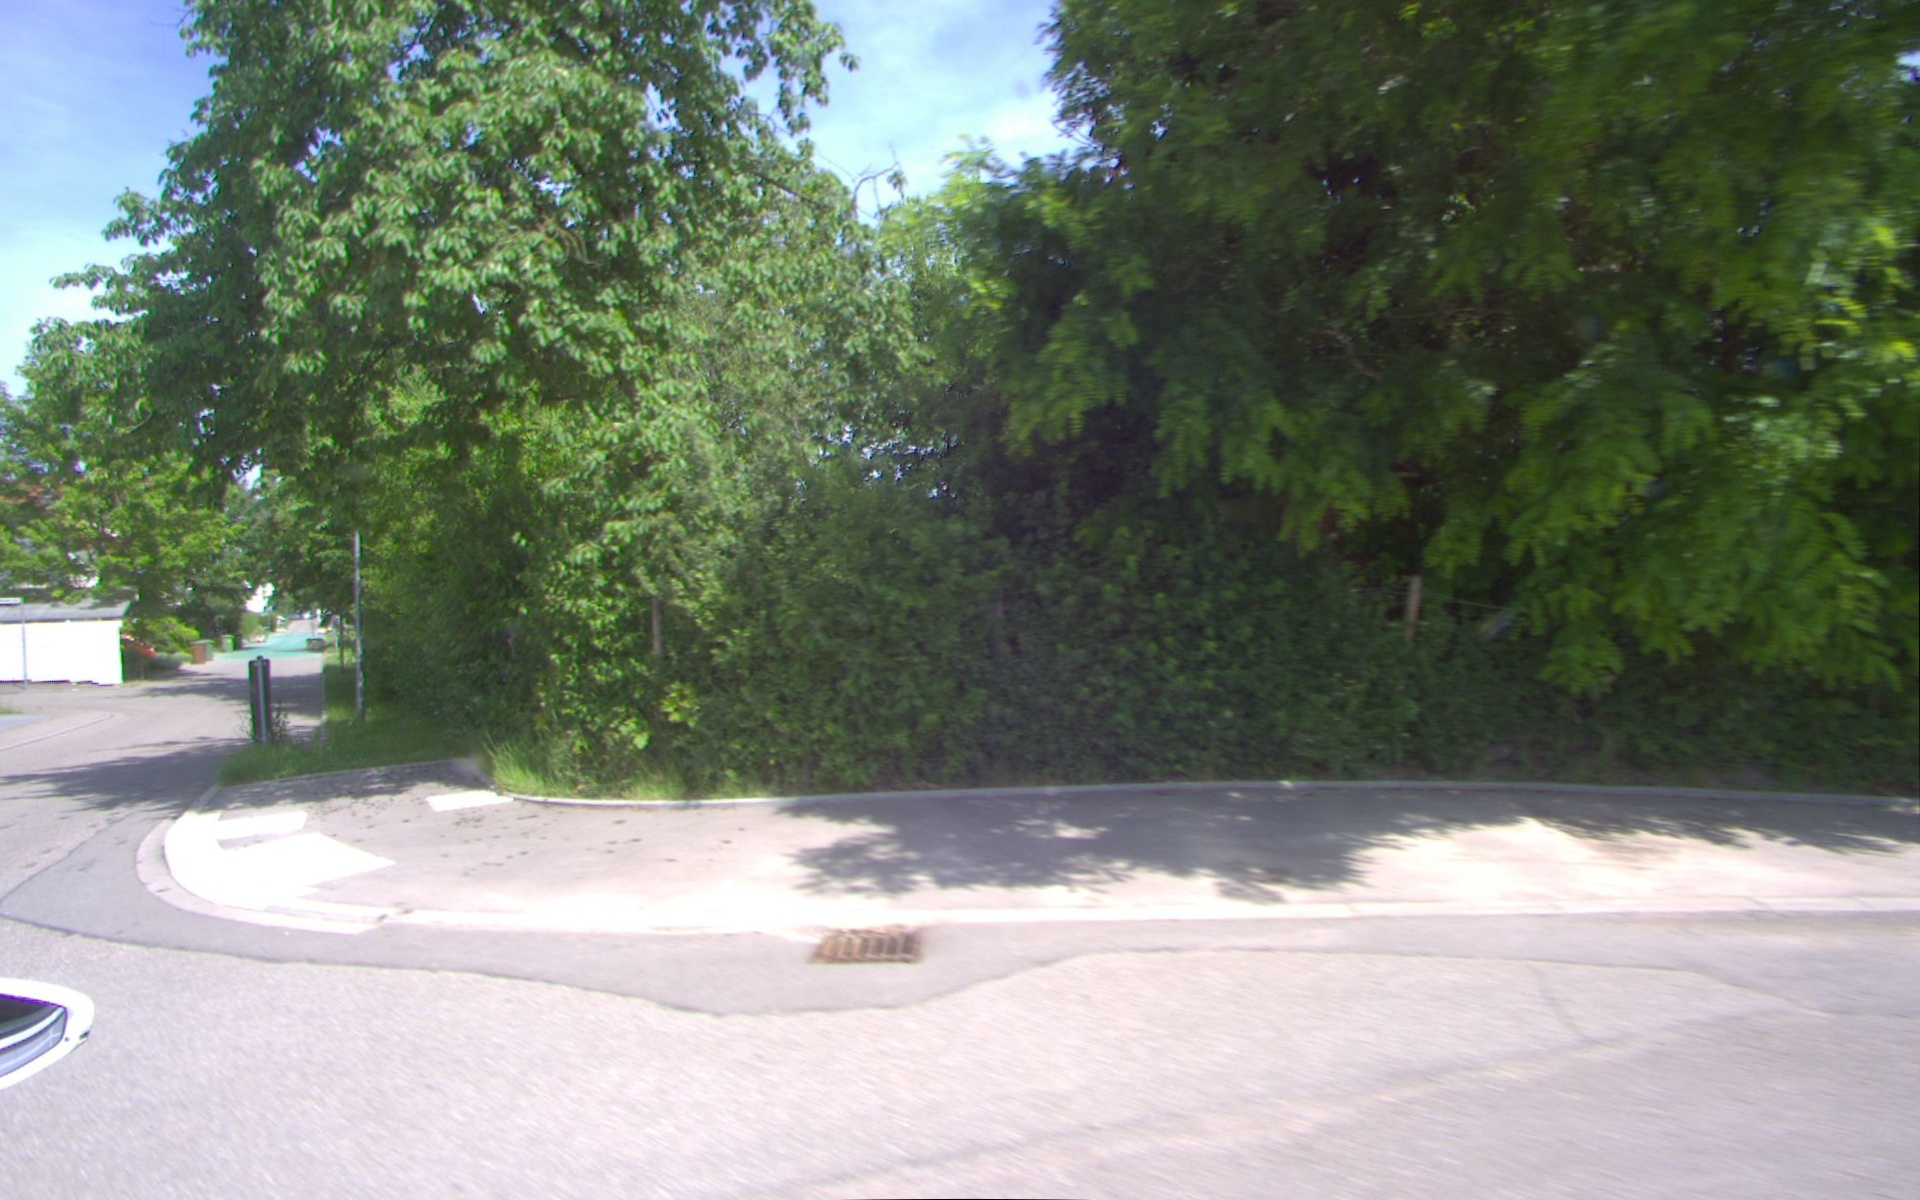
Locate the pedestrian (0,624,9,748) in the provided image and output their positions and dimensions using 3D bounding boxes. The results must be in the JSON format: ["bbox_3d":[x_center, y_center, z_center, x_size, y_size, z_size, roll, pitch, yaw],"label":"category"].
[{"bbox_3d":[-14.861,1.291,14.956,0.838,1.843,0.829,-1,-1,-38],"label":"pedestrian"}]

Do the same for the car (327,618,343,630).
[{"bbox_3d":[-81.366,3.118,130.374,1.563,1.439,3.206,-1,2,-36],"label":"car"}]

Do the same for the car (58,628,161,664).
[{"bbox_3d":[-37.135,1.983,43.742,3.392,1.439,1.571,1,0,-43],"label":"car"}]
